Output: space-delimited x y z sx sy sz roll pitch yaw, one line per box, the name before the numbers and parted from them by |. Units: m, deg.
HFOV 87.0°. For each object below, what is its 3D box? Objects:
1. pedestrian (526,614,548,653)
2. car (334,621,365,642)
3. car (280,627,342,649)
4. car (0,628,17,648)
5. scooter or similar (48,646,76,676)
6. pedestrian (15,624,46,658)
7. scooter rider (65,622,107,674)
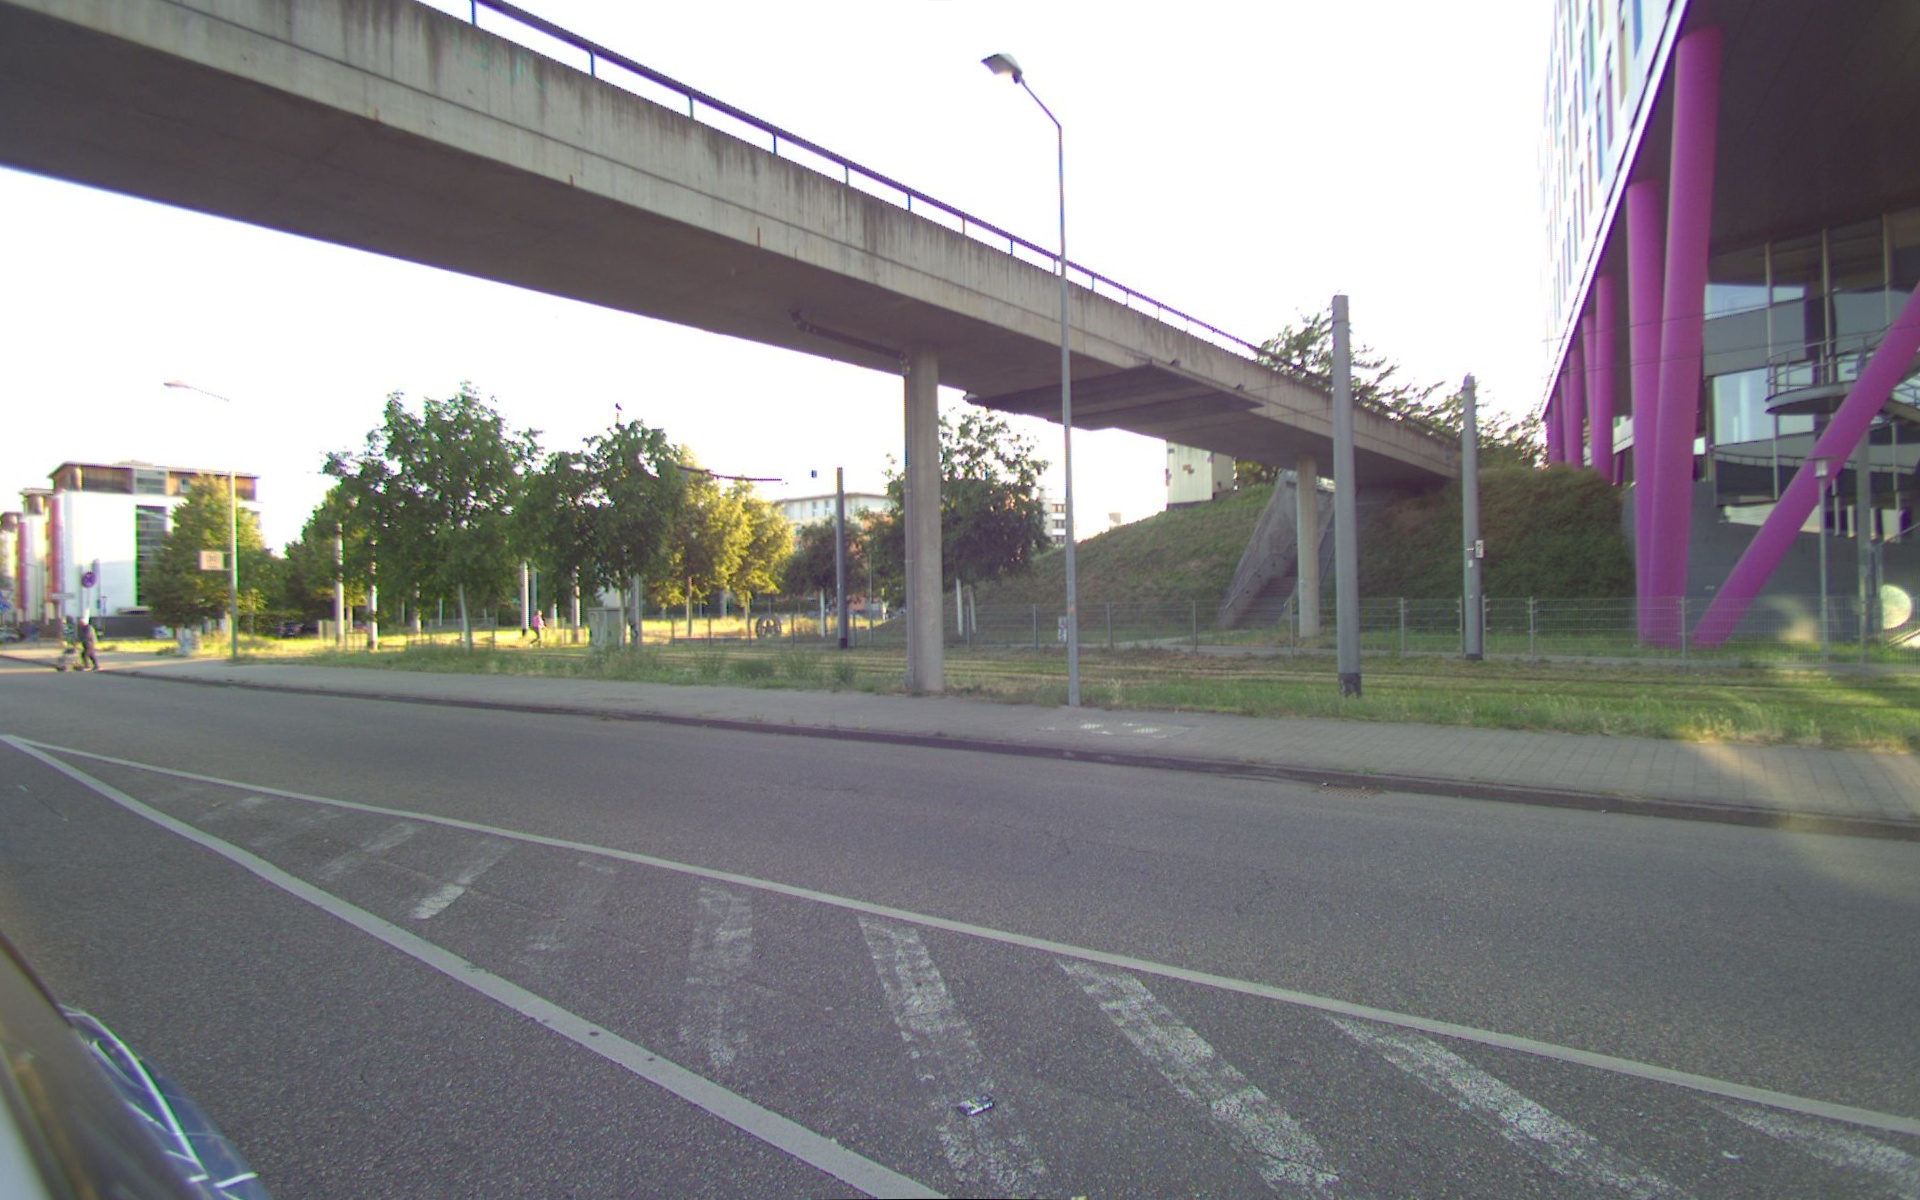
pedestrian | -17.906 1.426 42.836 0.767 1.623 0.417 -1 -1 -38
car | -53.580 2.749 88.783 1.842 1.734 3.853 -1 -1 -38
car | -51.511 2.989 80.368 3.936 1.575 2.004 -1 -1 -39
car | -80.768 3.163 83.411 1.839 1.571 4.330 -1 0 42
scooter or similar | -27.874 1.894 31.410 0.722 0.902 0.546 -1 -1 40
pedestrian | -58.000 2.548 63.181 1.072 2.029 1.143 -1 0 -21
scooter rider | -27.502 1.485 31.859 0.711 1.589 0.887 -2 -1 39
